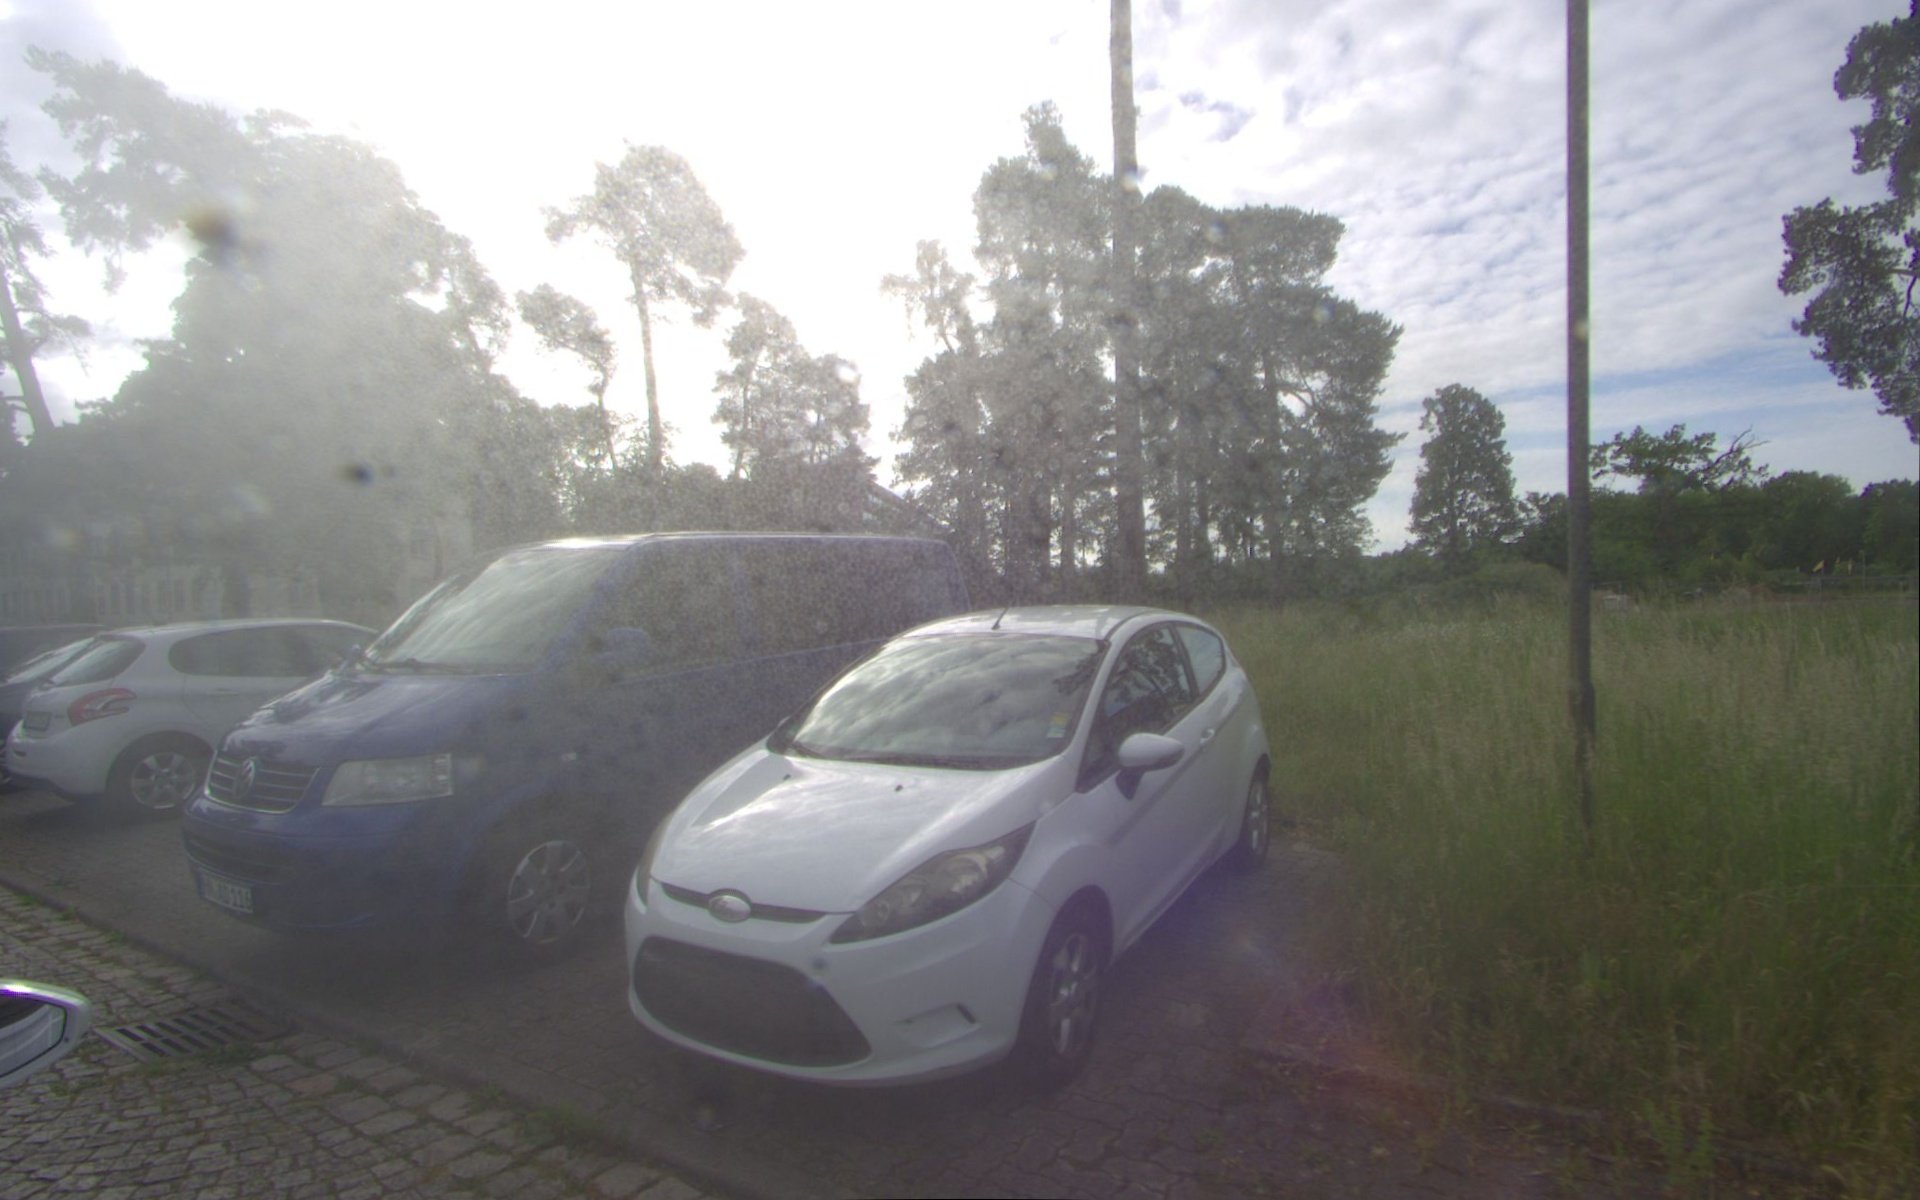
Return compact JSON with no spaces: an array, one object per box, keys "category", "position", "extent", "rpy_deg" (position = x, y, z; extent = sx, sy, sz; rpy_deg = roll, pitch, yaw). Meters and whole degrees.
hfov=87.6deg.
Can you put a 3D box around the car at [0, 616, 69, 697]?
[{"category":"car","position":[-19.105,1.132,17.665],"extent":[1.843,1.436,4.671],"rpy_deg":[-1,2,30]}]

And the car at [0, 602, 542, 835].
[{"category":"car","position":[-6.071,0.851,9.124],"extent":[1.733,1.492,3.853],"rpy_deg":[-1,2,31]}]

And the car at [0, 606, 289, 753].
[{"category":"car","position":[-10.784,0.911,12.258],"extent":[1.733,1.492,3.853],"rpy_deg":[-1,2,31]}]

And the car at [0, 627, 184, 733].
[{"category":"car","position":[-13.097,1.102,13.440],"extent":[1.733,1.253,3.853],"rpy_deg":[-1,2,31]}]

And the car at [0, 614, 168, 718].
[{"category":"car","position":[-14.934,1.033,15.120],"extent":[1.844,1.436,4.251],"rpy_deg":[-1,2,32]}]

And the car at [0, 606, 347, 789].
[{"category":"car","position":[-8.736,0.900,10.203],"extent":[1.731,1.492,3.856],"rpy_deg":[-1,2,29]}]

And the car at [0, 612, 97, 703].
[{"category":"car","position":[-17.006,1.022,16.031],"extent":[1.840,1.436,4.420],"rpy_deg":[-1,2,24]}]

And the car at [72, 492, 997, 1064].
[{"category":"car","position":[-1.828,0.547,5.998],"extent":[1.974,1.972,4.796],"rpy_deg":[-1,2,31]}]

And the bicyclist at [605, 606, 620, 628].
[{"category":"bicyclist","position":[-22.828,1.114,65.818],"extent":[0.744,1.429,0.599],"rpy_deg":[-1,1,-45]}]

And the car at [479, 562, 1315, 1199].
[{"category":"car","position":[0.222,0.688,4.492],"extent":[1.815,1.493,3.851],"rpy_deg":[-1,4,31]}]
